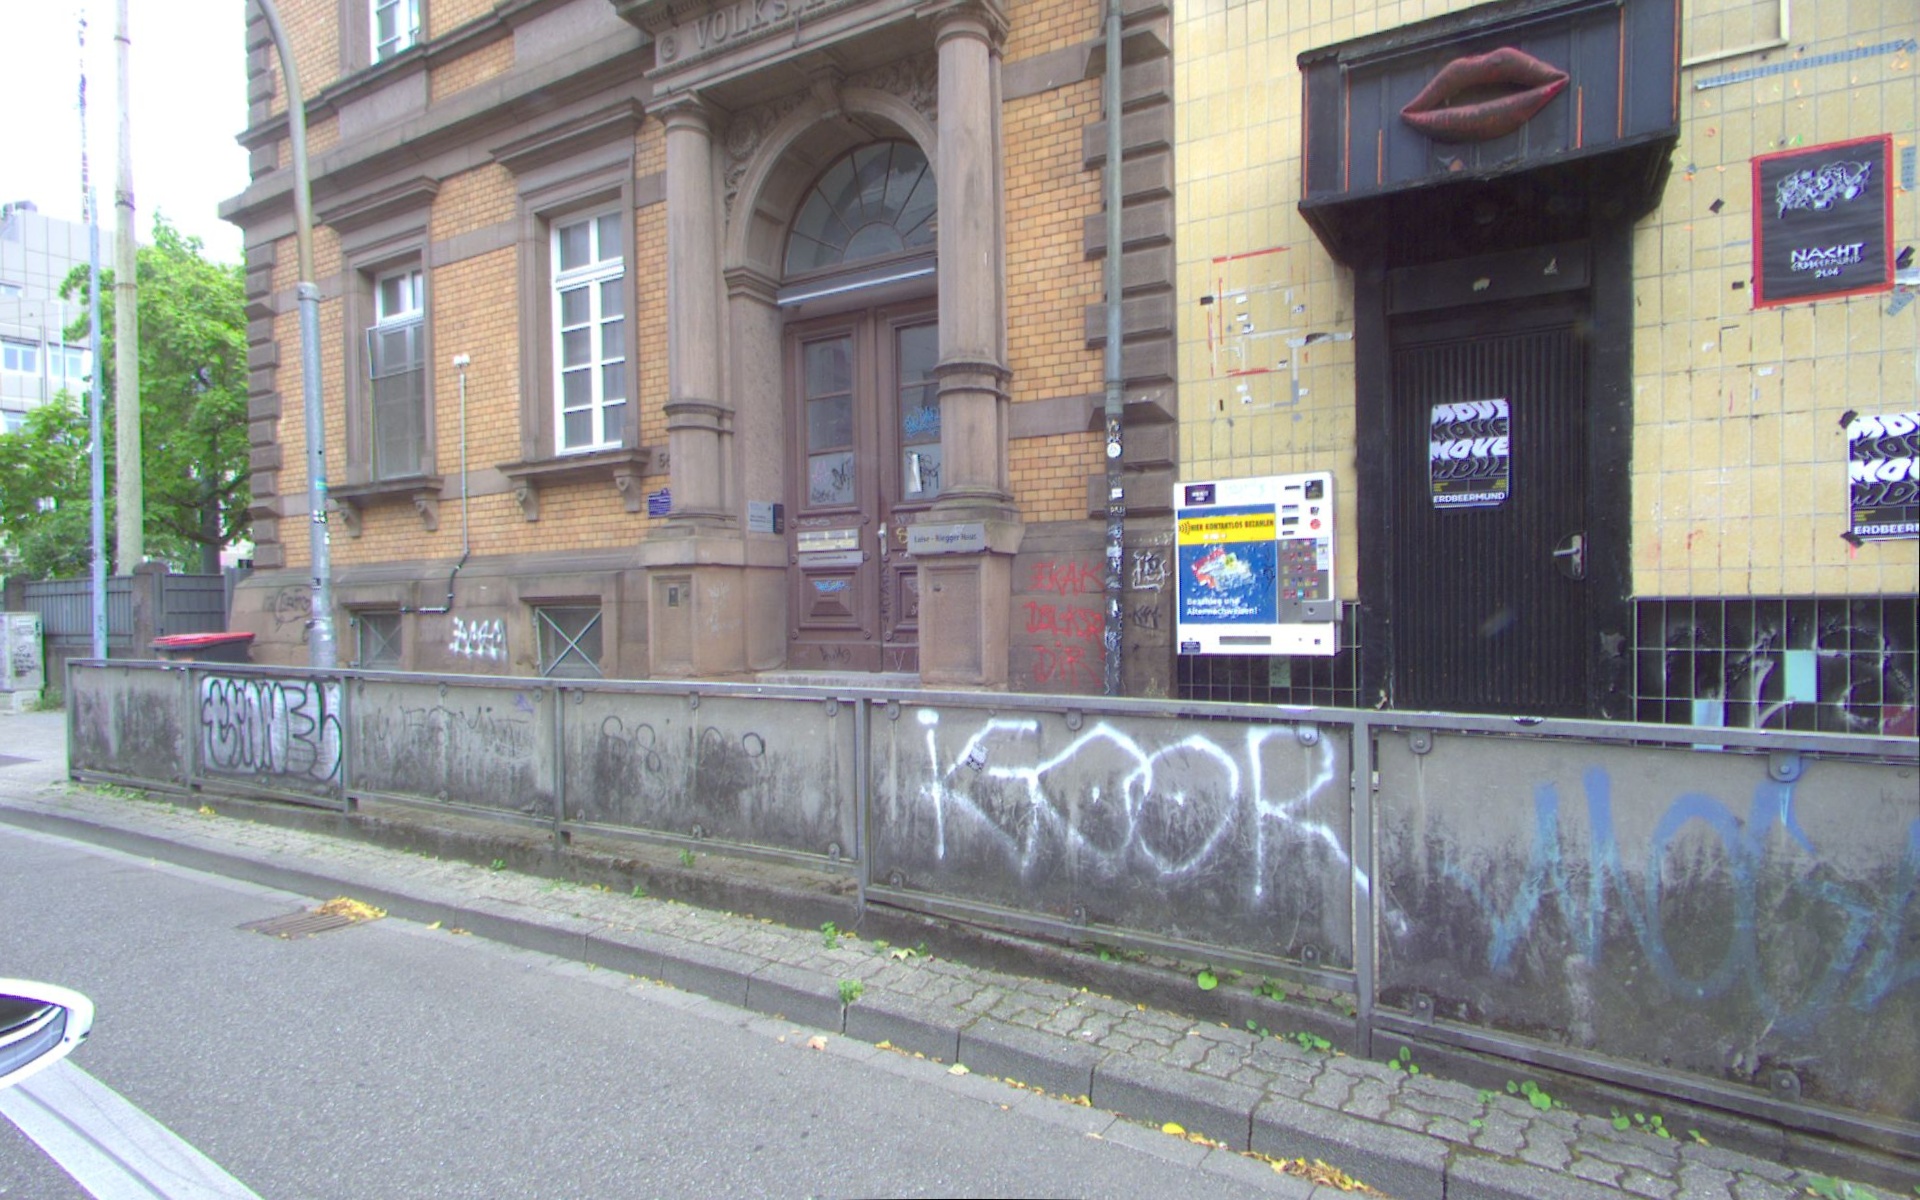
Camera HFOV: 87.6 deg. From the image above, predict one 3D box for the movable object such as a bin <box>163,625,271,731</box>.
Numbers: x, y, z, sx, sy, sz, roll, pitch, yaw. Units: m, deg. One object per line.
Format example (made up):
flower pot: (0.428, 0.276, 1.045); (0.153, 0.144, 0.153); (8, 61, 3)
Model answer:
movable object such as a bin: (-8.326, 0.859, 11.233); (0.690, 1.097, 0.662); (-1, 4, 27)

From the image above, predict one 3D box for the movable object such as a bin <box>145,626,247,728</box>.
movable object such as a bin: (-8.889, 0.878, 11.664); (0.667, 1.097, 0.650); (-1, 4, 27)
